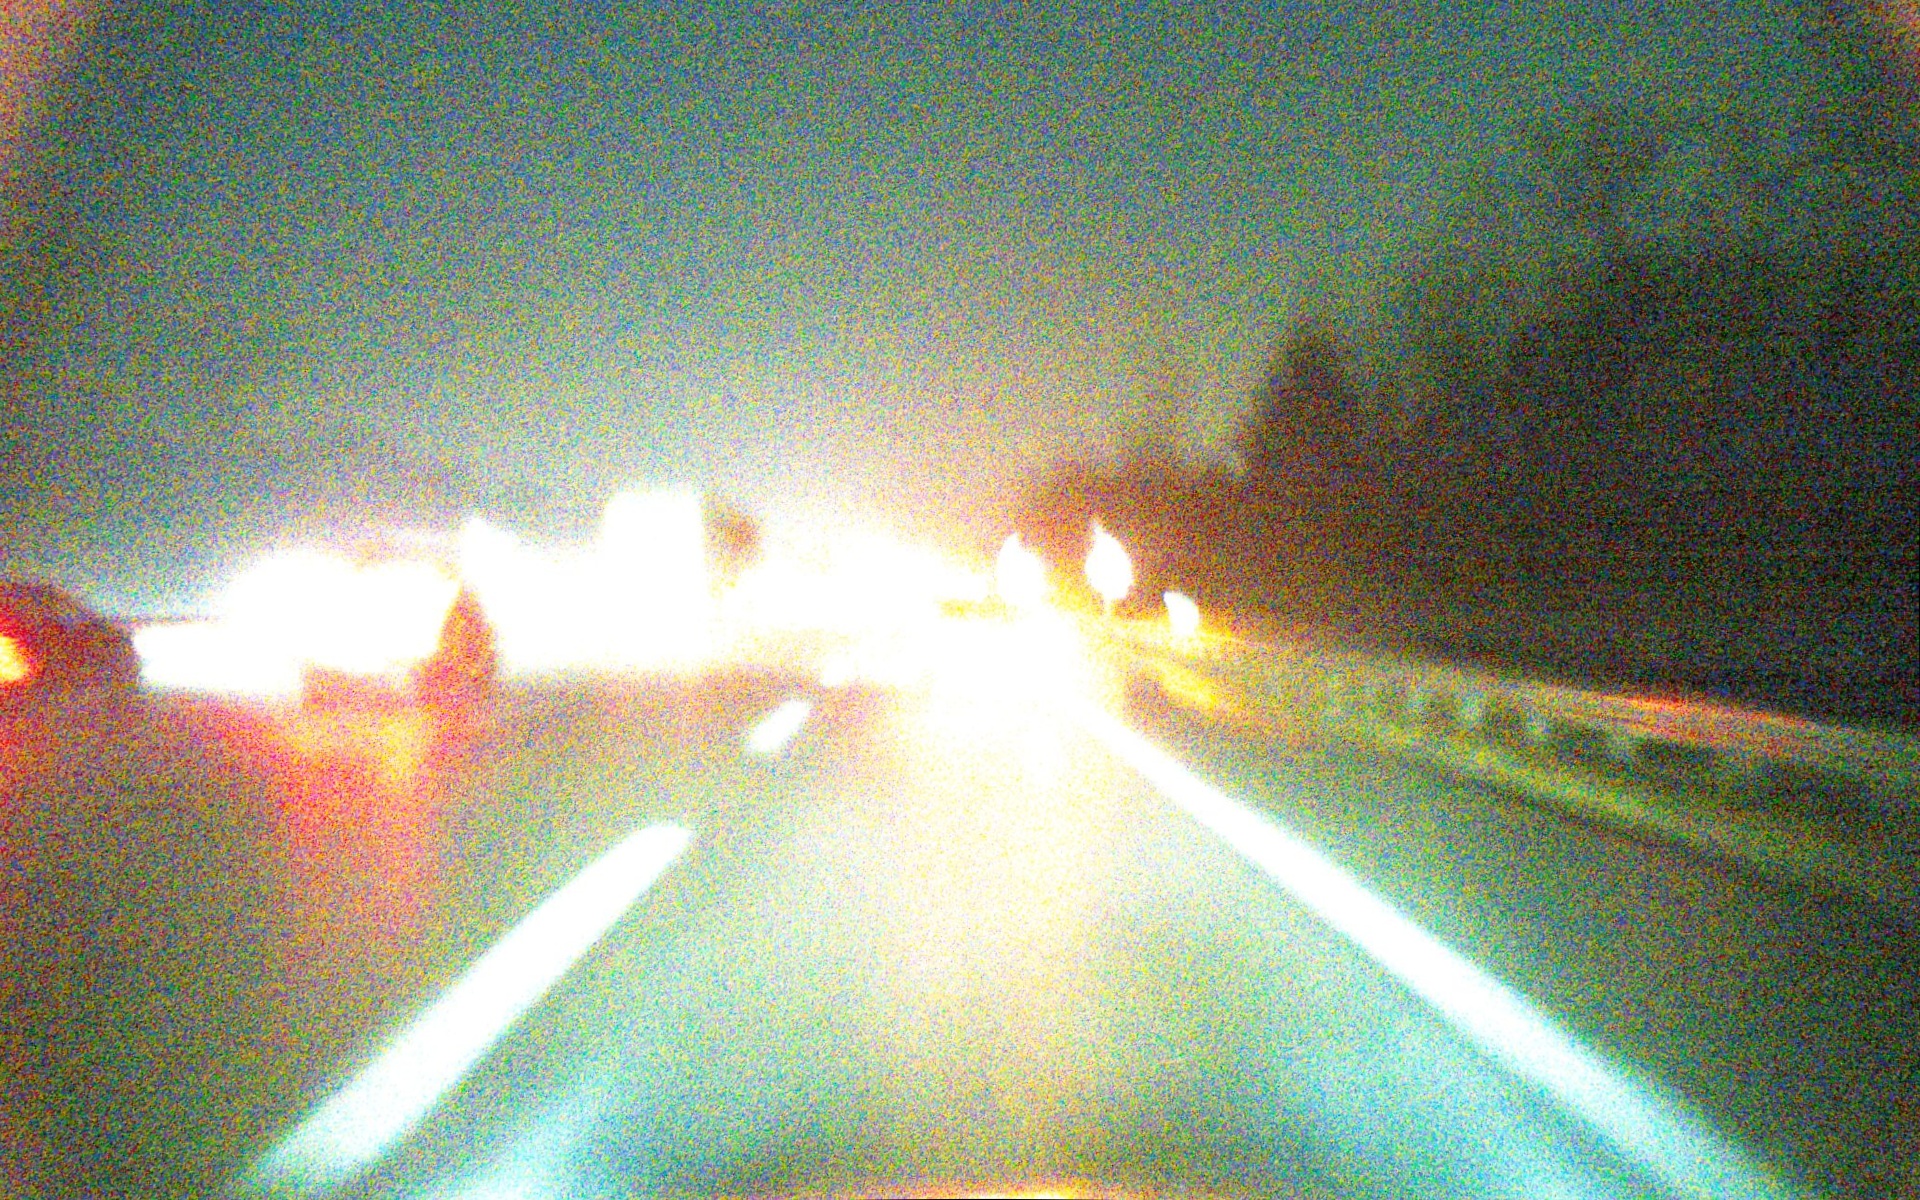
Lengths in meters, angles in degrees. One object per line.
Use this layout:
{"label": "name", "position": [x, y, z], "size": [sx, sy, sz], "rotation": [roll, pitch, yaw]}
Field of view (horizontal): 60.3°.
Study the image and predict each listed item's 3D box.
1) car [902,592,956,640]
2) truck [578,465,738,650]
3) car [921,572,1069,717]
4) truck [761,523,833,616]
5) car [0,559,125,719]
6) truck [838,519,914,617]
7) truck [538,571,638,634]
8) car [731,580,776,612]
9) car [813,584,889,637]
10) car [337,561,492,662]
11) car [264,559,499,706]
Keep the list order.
{"label": "car", "position": [-1.177, 0.567, 63.144], "size": [1.953, 1.733, 4.458], "rotation": [1, 0, -1]}
{"label": "truck", "position": [-8.655, -1.146, 48.683], "size": [3.585, 4.820, 9.843], "rotation": [1, 0, -5]}
{"label": "car", "position": [0.444, 0.558, 22.927], "size": [1.839, 1.793, 4.000], "rotation": [1, 0, 0]}
{"label": "truck", "position": [-10.277, -1.861, 105.578], "size": [4.170, 5.539, 10.875], "rotation": [1, 0, -4]}
{"label": "car", "position": [-11.242, 0.393, 18.781], "size": [1.731, 1.718, 3.997], "rotation": [1, 1, -4]}
{"label": "truck", "position": [-4.903, -1.782, 95.714], "size": [4.079, 5.306, 9.947], "rotation": [1, 0, -3]}
{"label": "truck", "position": [-14.226, 0.085, 63.739], "size": [2.800, 2.239, 5.854], "rotation": [1, 0, -3]}
{"label": "car", "position": [-11.579, -0.243, 92.888], "size": [1.953, 1.733, 4.458], "rotation": [1, 0, -1]}
{"label": "car", "position": [-4.447, 0.416, 68.704], "size": [2.775, 2.049, 5.510], "rotation": [1, 0, 0]}
{"label": "car", "position": [-12.486, 0.230, 38.238], "size": [2.081, 2.141, 5.624], "rotation": [1, 0, -4]}
{"label": "car", "position": [-7.791, 0.397, 22.746], "size": [1.999, 1.792, 4.510], "rotation": [1, 0, -6]}
